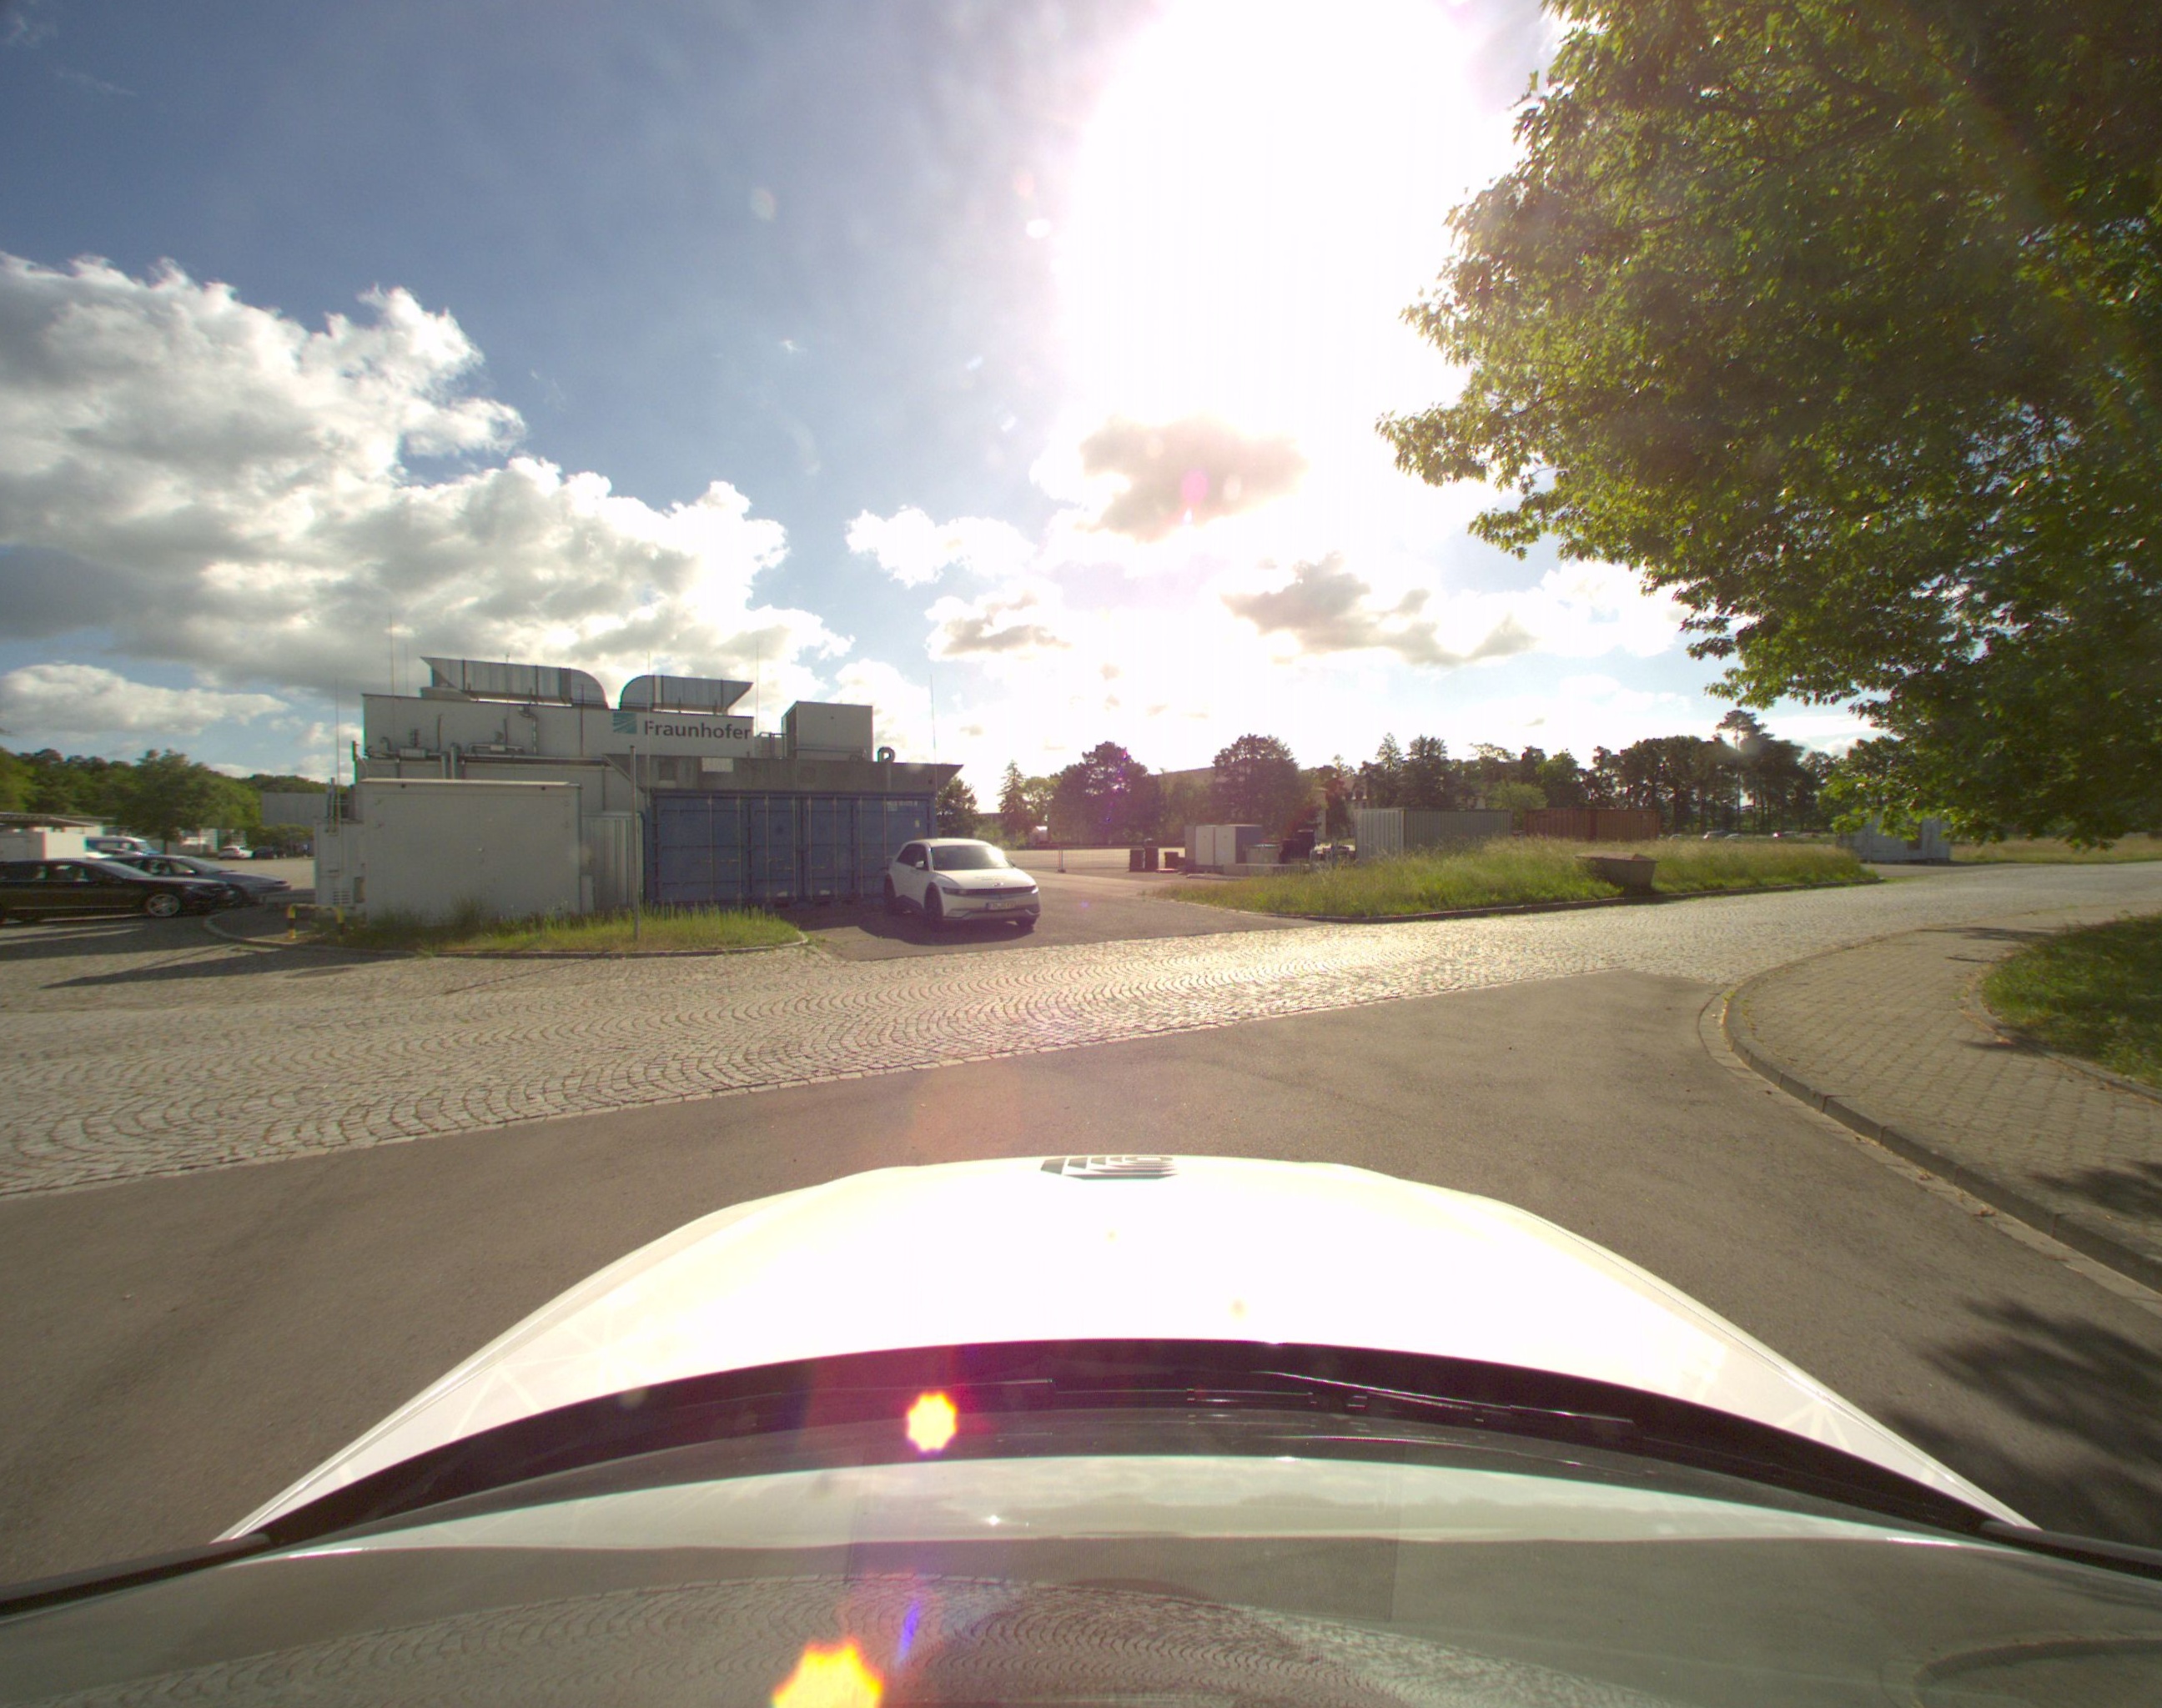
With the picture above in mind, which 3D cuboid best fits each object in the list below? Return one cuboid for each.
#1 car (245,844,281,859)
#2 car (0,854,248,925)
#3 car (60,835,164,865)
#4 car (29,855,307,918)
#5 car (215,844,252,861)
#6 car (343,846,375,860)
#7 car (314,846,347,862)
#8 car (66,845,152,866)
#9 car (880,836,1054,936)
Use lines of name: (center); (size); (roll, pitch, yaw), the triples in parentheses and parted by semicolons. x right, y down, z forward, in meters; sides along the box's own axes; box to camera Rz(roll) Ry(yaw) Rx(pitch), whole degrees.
car: (-91.236, -0.236, 90.901); (1.891, 1.537, 3.994); (-3, 2, -33)
car: (-22.886, 0.801, 18.882); (4.556, 1.443, 1.969); (-2, 0, -28)
car: (-82.393, -0.348, 69.323); (5.282, 2.441, 2.033); (-1, 1, -24)
car: (-24.174, 0.809, 21.854); (4.556, 1.443, 1.887); (-2, 0, -28)
car: (-93.464, -0.175, 89.833); (1.859, 1.668, 4.091); (-3, 2, -33)
car: (-84.063, -0.110, 94.877); (1.889, 1.537, 3.997); (-3, 2, -30)
car: (-86.406, -0.053, 93.784); (1.889, 1.689, 3.997); (-3, 2, -30)
car: (-80.165, 0.108, 67.216); (4.129, 1.630, 1.793); (-1, 1, -24)
car: (-2.351, 0.475, 15.771); (1.992, 1.593, 4.302); (-1, 2, -28)
